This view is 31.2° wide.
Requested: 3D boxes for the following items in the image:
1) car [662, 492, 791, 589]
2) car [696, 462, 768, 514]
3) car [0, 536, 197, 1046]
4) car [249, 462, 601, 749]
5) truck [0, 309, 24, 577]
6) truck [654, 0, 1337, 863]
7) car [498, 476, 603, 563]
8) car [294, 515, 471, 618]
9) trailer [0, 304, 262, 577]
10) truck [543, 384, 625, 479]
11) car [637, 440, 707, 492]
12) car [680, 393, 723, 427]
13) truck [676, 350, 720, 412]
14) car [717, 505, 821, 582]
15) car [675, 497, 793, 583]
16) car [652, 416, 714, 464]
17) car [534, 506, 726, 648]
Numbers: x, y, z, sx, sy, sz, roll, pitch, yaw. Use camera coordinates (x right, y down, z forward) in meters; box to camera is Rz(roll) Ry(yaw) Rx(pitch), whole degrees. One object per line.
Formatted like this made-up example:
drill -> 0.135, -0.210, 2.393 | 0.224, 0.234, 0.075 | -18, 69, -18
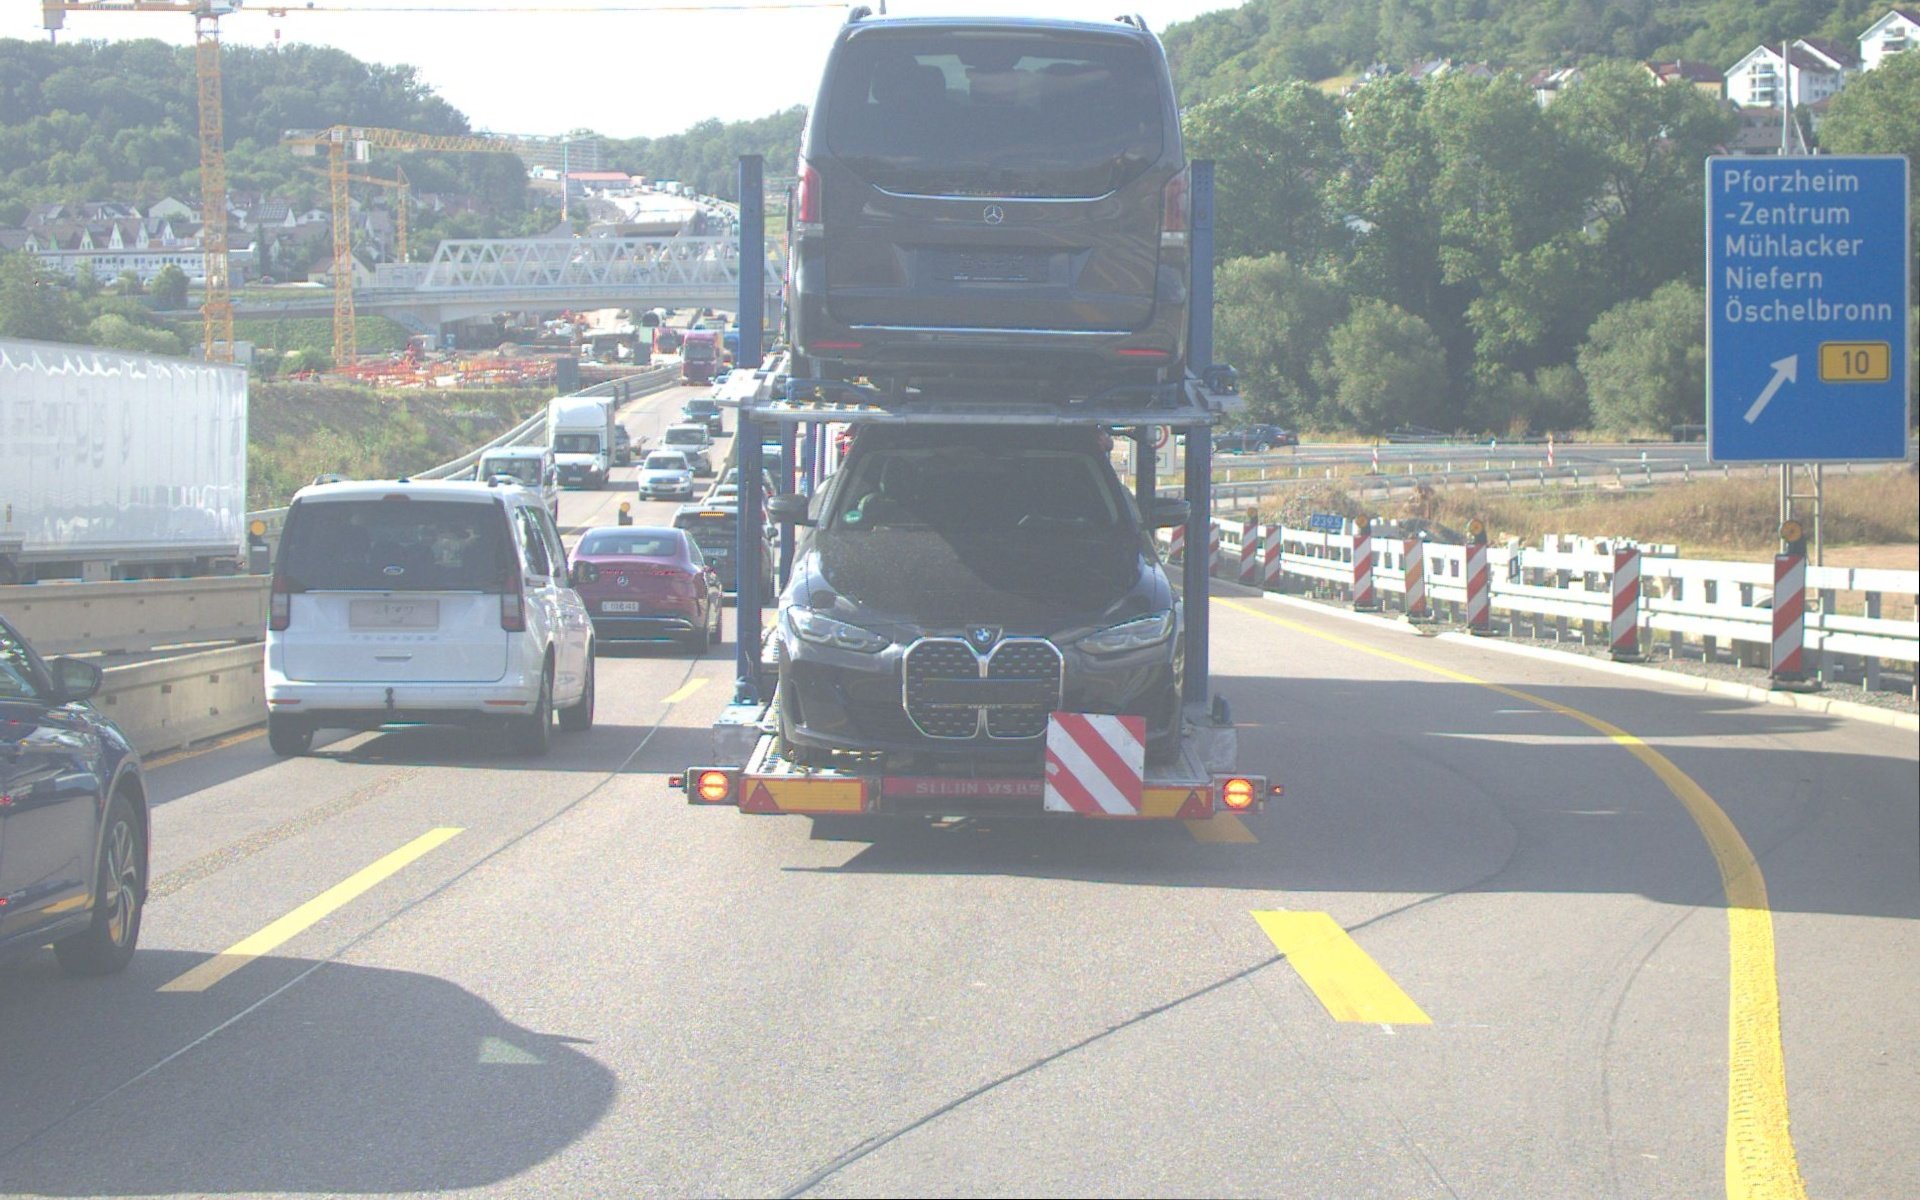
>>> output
car -> -3.931, -0.984, 57.285 | 1.993, 1.546, 4.001 | 1, 1, -6
car -> -7.136, -3.496, 107.784 | 1.993, 1.546, 4.000 | 1, 1, 0
car -> -3.531, 0.534, 9.935 | 1.722, 1.417, 4.000 | 0, 1, 0
car -> -3.587, 0.010, 23.697 | 1.823, 1.786, 4.000 | 1, 1, -1
truck -> -15.176, -2.206, 46.420 | 2.777, 3.775, 6.016 | 1, 1, 7
truck -> 0.056, -1.027, 23.852 | 2.753, 3.941, 18.890 | 2, 1, -1
car -> -11.668, -2.269, 98.336 | 2.258, 2.394, 5.867 | 1, 1, 0
car -> -10.077, -0.598, 60.241 | 1.994, 1.720, 4.122 | 1, 1, 6
trailer -> -14.369, -2.316, 53.190 | 2.821, 3.828, 13.800 | 1, 1, 7
truck -> -14.290, -6.387, 131.192 | 2.700, 3.300, 7.538 | 1, 1, -3
car -> -10.095, -4.734, 120.822 | 2.125, 1.668, 4.273 | -1, 4, -1
car -> -13.053, -9.630, 173.973 | 1.852, 1.629, 4.750 | -1, 4, -1
truck -> -19.388, -16.157, 254.182 | 2.913, 4.372, 6.288 | 1, 2, -7
car -> -3.989, -1.179, 72.354 | 1.993, 1.546, 4.000 | 1, 1, 0
car -> -4.259, -1.130, 65.213 | 1.993, 1.546, 4.000 | 1, 1, 0
car -> -11.220, -6.507, 139.467 | 2.125, 1.759, 5.032 | 1, 4, -1
car -> -3.826, -0.285, 40.477 | 1.993, 1.551, 4.401 | 1, 1, -2
